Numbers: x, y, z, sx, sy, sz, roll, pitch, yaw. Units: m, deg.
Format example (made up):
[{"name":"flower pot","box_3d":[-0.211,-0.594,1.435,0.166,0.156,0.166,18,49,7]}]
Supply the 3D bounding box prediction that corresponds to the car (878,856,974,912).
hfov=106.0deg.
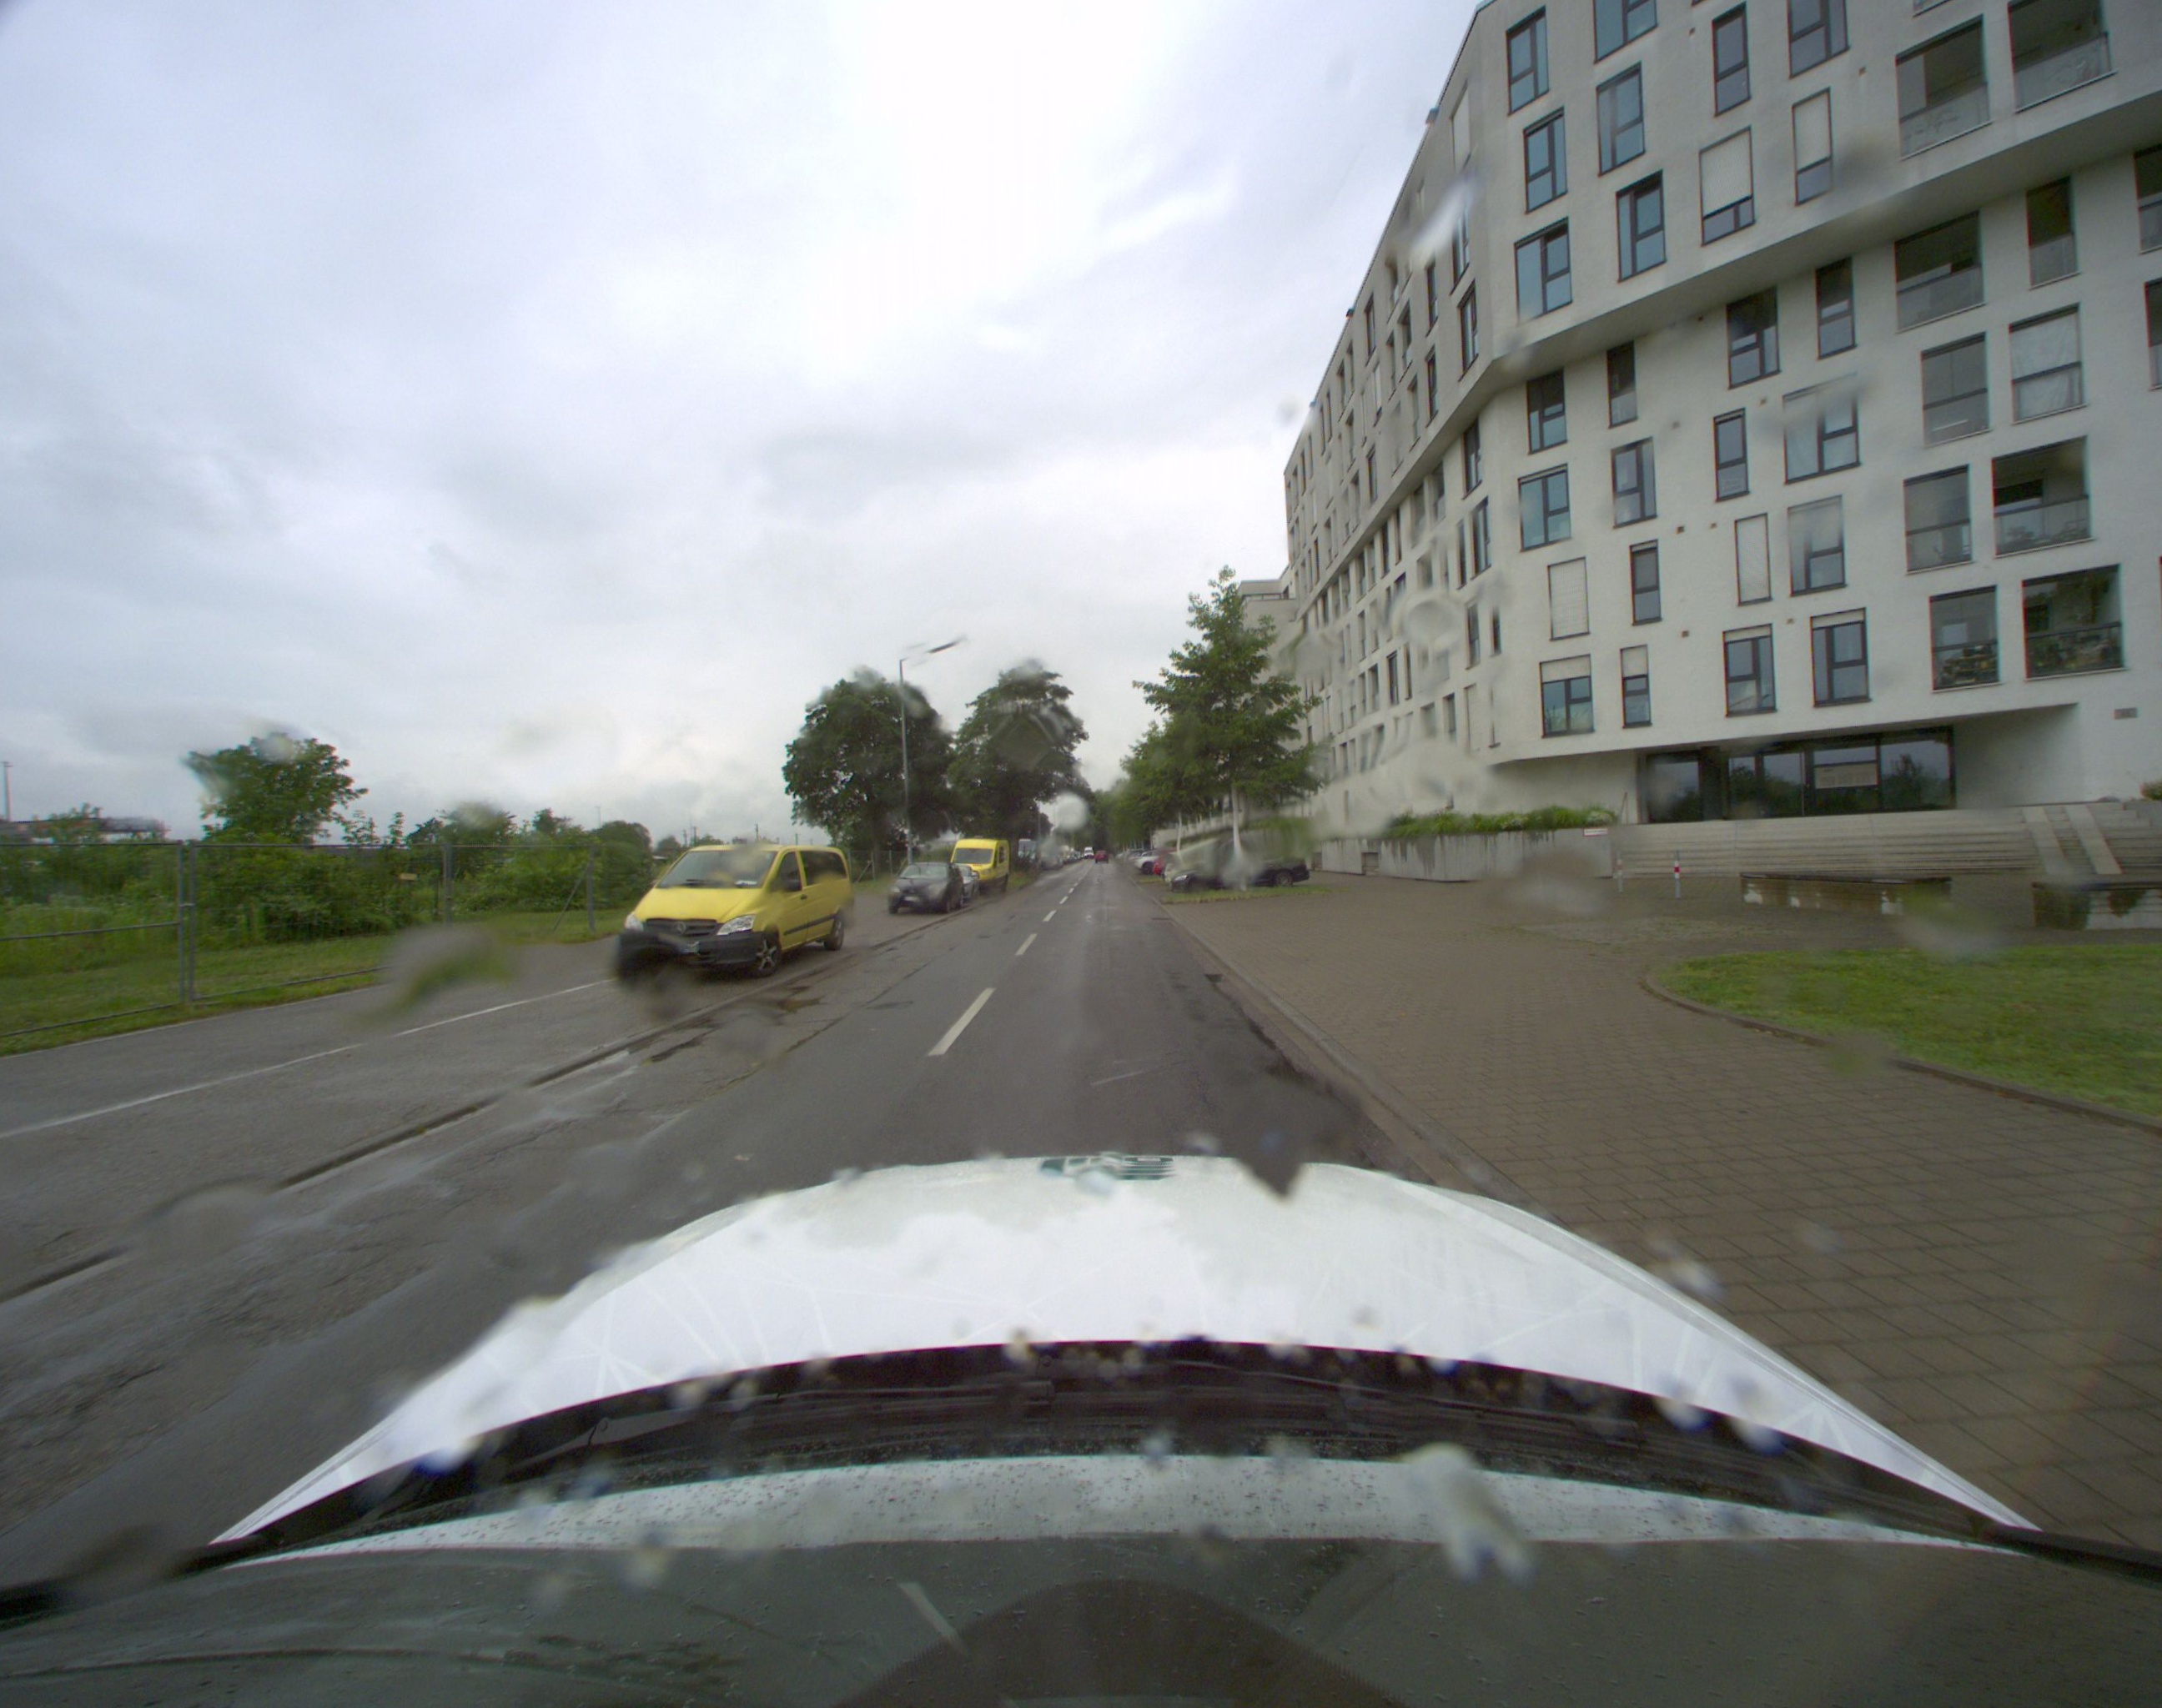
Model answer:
[{"name":"car","box_3d":[-4.701,0.858,25.445,1.987,1.594,5.017,0,0,0]}]

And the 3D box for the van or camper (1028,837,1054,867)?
[{"name":"van or camper","box_3d":[-3.700,-0.132,77.201,2.088,2.715,7.572,0,-1,0]}]

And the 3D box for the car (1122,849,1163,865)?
[{"name":"car","box_3d":[6.775,0.338,89.520,4.286,1.428,1.636,-4,0,-1]}]

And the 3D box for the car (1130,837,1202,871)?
[{"name":"car","box_3d":[5.747,0.002,55.318,4.527,1.685,1.885,-7,0,-2]}]

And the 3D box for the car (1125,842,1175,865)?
[{"name":"car","box_3d":[6.480,-0.037,77.028,4.462,1.686,1.935,-6,0,-1]}]

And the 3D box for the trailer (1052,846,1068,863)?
[{"name":"trailer","box_3d":[-2.848,0.108,111.792,2.052,2.218,5.794,-1,0,0]}]

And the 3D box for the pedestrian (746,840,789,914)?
[{"name":"pedestrian","box_3d":[-8.791,0.633,22.849,0.739,2.013,0.981,-1,0,2]}]

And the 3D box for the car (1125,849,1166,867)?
[{"name":"car","box_3d":[6.439,0.399,81.835,3.973,1.509,1.684,-4,1,1]}]

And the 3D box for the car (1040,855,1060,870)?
[{"name":"car","box_3d":[-3.374,0.913,89.441,1.767,1.502,4.830,0,0,2]}]

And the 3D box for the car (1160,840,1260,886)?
[{"name":"car","box_3d":[5.510,0.373,35.031,3.972,1.555,1.635,-5,0,1]}]

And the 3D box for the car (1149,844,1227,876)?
[{"name":"car","box_3d":[5.882,0.357,45.127,3.974,1.451,1.821,-5,-1,0]}]

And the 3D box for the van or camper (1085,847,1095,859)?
[{"name":"van or camper","box_3d":[2.019,-0.163,183.526,1.986,2.497,7.182,-3,0,2]}]

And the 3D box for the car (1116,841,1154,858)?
[{"name":"car","box_3d":[6.887,-0.574,104.161,4.608,2.019,1.856,-3,0,-3]}]

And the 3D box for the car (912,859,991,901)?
[{"name":"car","box_3d":[-4.758,0.922,30.782,2.003,1.434,5.340,0,0,1]}]

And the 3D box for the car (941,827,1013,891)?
[{"name":"car","box_3d":[-4.601,0.213,37.212,2.182,2.694,6.086,0,0,3]}]

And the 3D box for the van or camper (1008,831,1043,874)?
[{"name":"van or camper","box_3d":[-4.128,-0.095,61.678,2.087,3.094,6.424,0,-1,0]}]

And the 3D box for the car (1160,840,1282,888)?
[{"name":"car","box_3d":[5.498,0.375,32.387,4.472,1.481,1.692,-5,0,1]}]

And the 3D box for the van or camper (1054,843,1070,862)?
[{"name":"van or camper","box_3d":[-2.852,-0.196,124.260,1.986,2.762,7.901,-1,0,2]}]

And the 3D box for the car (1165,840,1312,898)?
[{"name":"car","box_3d":[5.266,0.492,27.671,4.556,1.497,1.825,-5,0,0]}]

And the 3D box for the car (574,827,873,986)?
[{"name":"car","box_3d":[-5.218,0.665,13.149,2.010,1.956,6.066,-1,0,1]}]

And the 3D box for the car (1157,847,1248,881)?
[{"name":"car","box_3d":[5.557,0.455,37.671,3.945,1.474,1.591,-1,0,-1]}]

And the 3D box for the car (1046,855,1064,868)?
[{"name":"car","box_3d":[-3.069,0.864,96.149,1.880,1.526,5.110,0,0,1]}]

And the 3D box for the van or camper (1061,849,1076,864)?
[{"name":"van or camper","box_3d":[-2.168,0.421,138.277,2.181,2.461,6.379,-1,0,2]}]

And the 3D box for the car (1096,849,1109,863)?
[{"name":"car","box_3d":[2.987,0.322,111.990,1.750,1.706,4.001,-3,-2,2]}]
